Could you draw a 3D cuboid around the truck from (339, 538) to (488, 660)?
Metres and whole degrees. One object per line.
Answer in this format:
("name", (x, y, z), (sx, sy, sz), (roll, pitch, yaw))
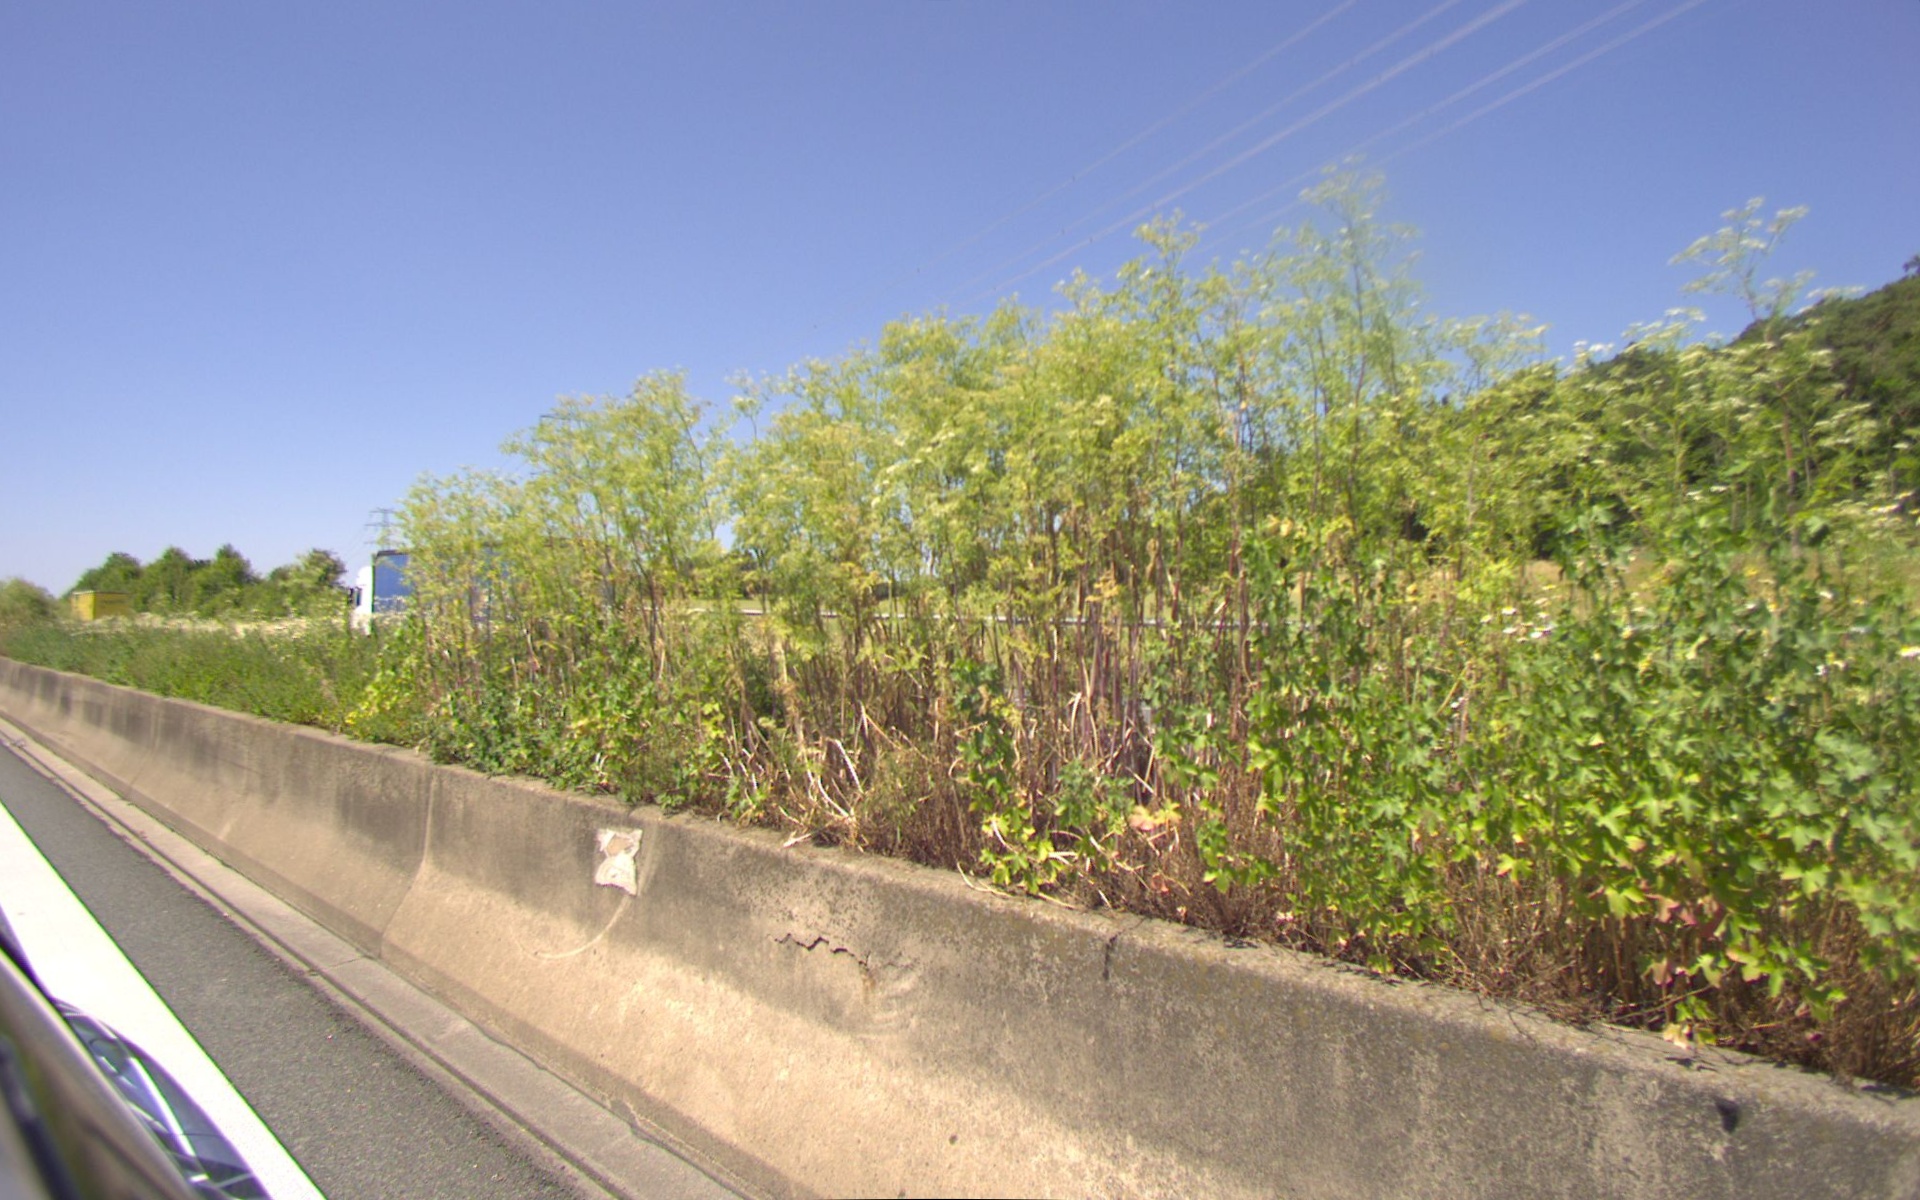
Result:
("truck", (-20.932, -0.011, 38.591), (6.685, 4.260, 2.979), (-1, -1, 43))

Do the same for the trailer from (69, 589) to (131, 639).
("trailer", (-77.197, 1.223, 90.778), (10.683, 4.238, 2.792), (0, 1, 42))

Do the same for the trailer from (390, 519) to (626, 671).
("trailer", (-15.152, -0.084, 33.258), (10.980, 4.260, 2.979), (-1, -1, 43))
